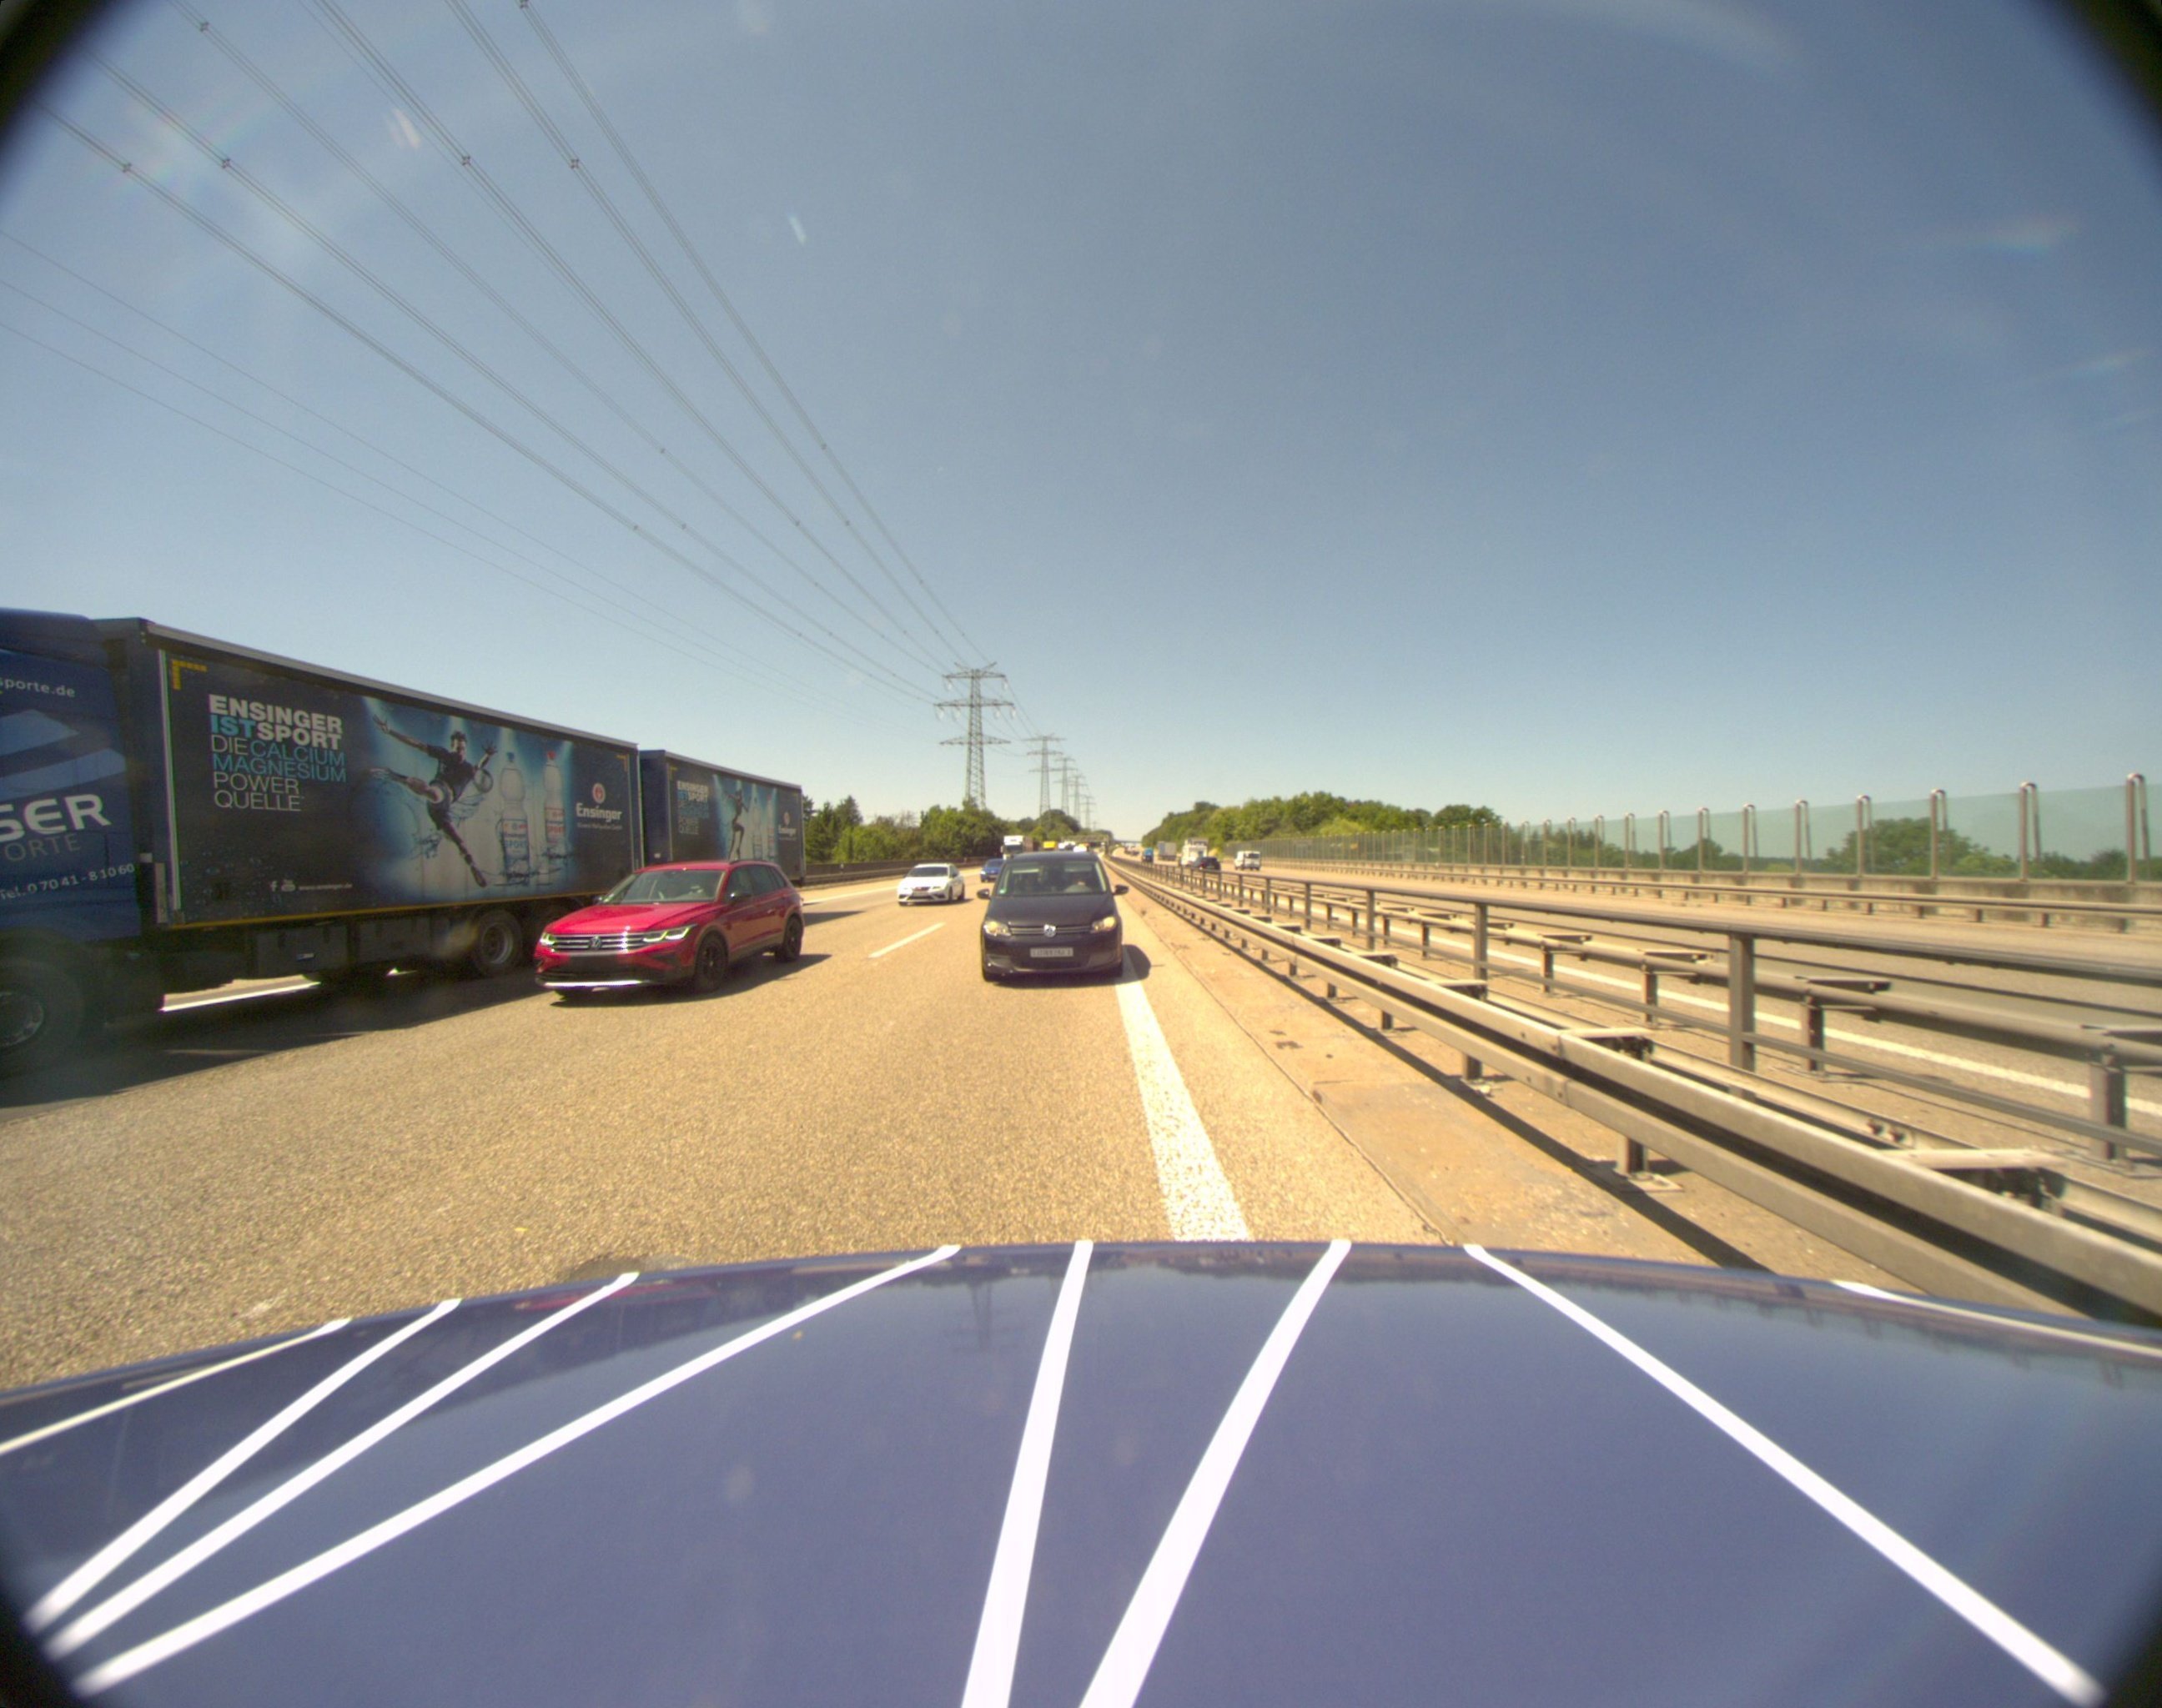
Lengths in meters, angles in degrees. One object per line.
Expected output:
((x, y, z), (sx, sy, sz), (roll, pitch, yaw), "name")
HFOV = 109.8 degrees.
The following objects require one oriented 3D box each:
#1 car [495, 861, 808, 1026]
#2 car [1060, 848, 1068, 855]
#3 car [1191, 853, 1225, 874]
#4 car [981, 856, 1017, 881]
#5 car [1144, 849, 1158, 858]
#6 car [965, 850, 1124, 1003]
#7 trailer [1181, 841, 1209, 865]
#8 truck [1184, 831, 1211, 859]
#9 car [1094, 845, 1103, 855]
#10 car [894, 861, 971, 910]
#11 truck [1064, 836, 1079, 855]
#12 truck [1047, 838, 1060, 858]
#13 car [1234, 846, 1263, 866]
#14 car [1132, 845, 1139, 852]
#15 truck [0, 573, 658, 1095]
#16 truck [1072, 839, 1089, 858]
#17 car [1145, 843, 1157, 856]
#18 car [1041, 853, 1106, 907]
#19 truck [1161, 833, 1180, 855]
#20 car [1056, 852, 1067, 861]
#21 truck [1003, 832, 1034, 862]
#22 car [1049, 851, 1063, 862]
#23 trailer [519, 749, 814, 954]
((-5.348, 0.977, 10.244), (1.779, 1.652, 4.224), (-2, 0, 0), "car")
((-4.616, -0.683, 206.976), (1.998, 2.002, 4.000), (0, 0, 1), "car")
((9.235, 0.666, 55.377), (1.772, 1.411, 4.266), (0, 0, 0), "car")
((-5.252, 0.923, 49.287), (1.739, 1.437, 4.210), (-2, 0, 2), "car")
((10.650, -0.095, 115.998), (1.853, 1.386, 4.000), (2, 0, 0), "car")
((-0.422, 0.815, 10.627), (1.740, 1.652, 3.999), (-2, 1, 0), "car")
((13.143, -0.160, 88.141), (2.322, 2.690, 6.360), (1, 0, 0), "trailer")
((17.961, -1.418, 117.744), (2.876, 4.062, 9.988), (1, 1, 1), "truck")
((3.952, -0.894, 170.998), (1.998, 2.002, 3.999), (-2, 1, 1), "car")
((-5.232, 1.059, 27.347), (1.843, 1.481, 4.072), (-2, 1, 1), "car")
((-2.034, -1.925, 166.617), (2.980, 3.832, 10.561), (-2, 1, 0), "truck")
((-5.992, -1.336, 166.138), (2.346, 4.058, 8.278), (-2, 1, 1), "truck")
((17.372, 0.198, 79.135), (2.039, 1.972, 4.489), (2, 0, 0), "car")
((17.470, -1.846, 242.132), (1.986, 2.058, 4.239), (1, 1, 0), "car")
((-9.614, -0.182, 9.615), (2.529, 4.043, 10.445), (-1, 1, 0), "truck")
((-0.105, -0.795, 108.862), (2.284, 2.479, 5.861), (-2, 1, 0), "truck")
((15.080, -0.958, 163.313), (1.986, 2.576, 5.036), (1, 1, 0), "car")
((-0.207, 0.742, 23.953), (1.845, 1.495, 4.377), (-1, 0, 0), "car")
((18.895, -2.062, 161.247), (2.876, 4.514, 9.988), (1, 1, 1), "truck")
((-3.302, 0.464, 130.240), (1.763, 1.495, 4.094), (-1, 0, -1), "car")
((-7.966, -0.901, 98.699), (2.985, 3.538, 10.966), (-2, 1, 0), "truck")
((-3.403, 0.354, 104.804), (1.763, 1.495, 4.094), (-1, 0, -1), "car")
((-9.593, -0.075, 19.104), (2.572, 3.922, 8.478), (-2, 0, 0), "trailer")
